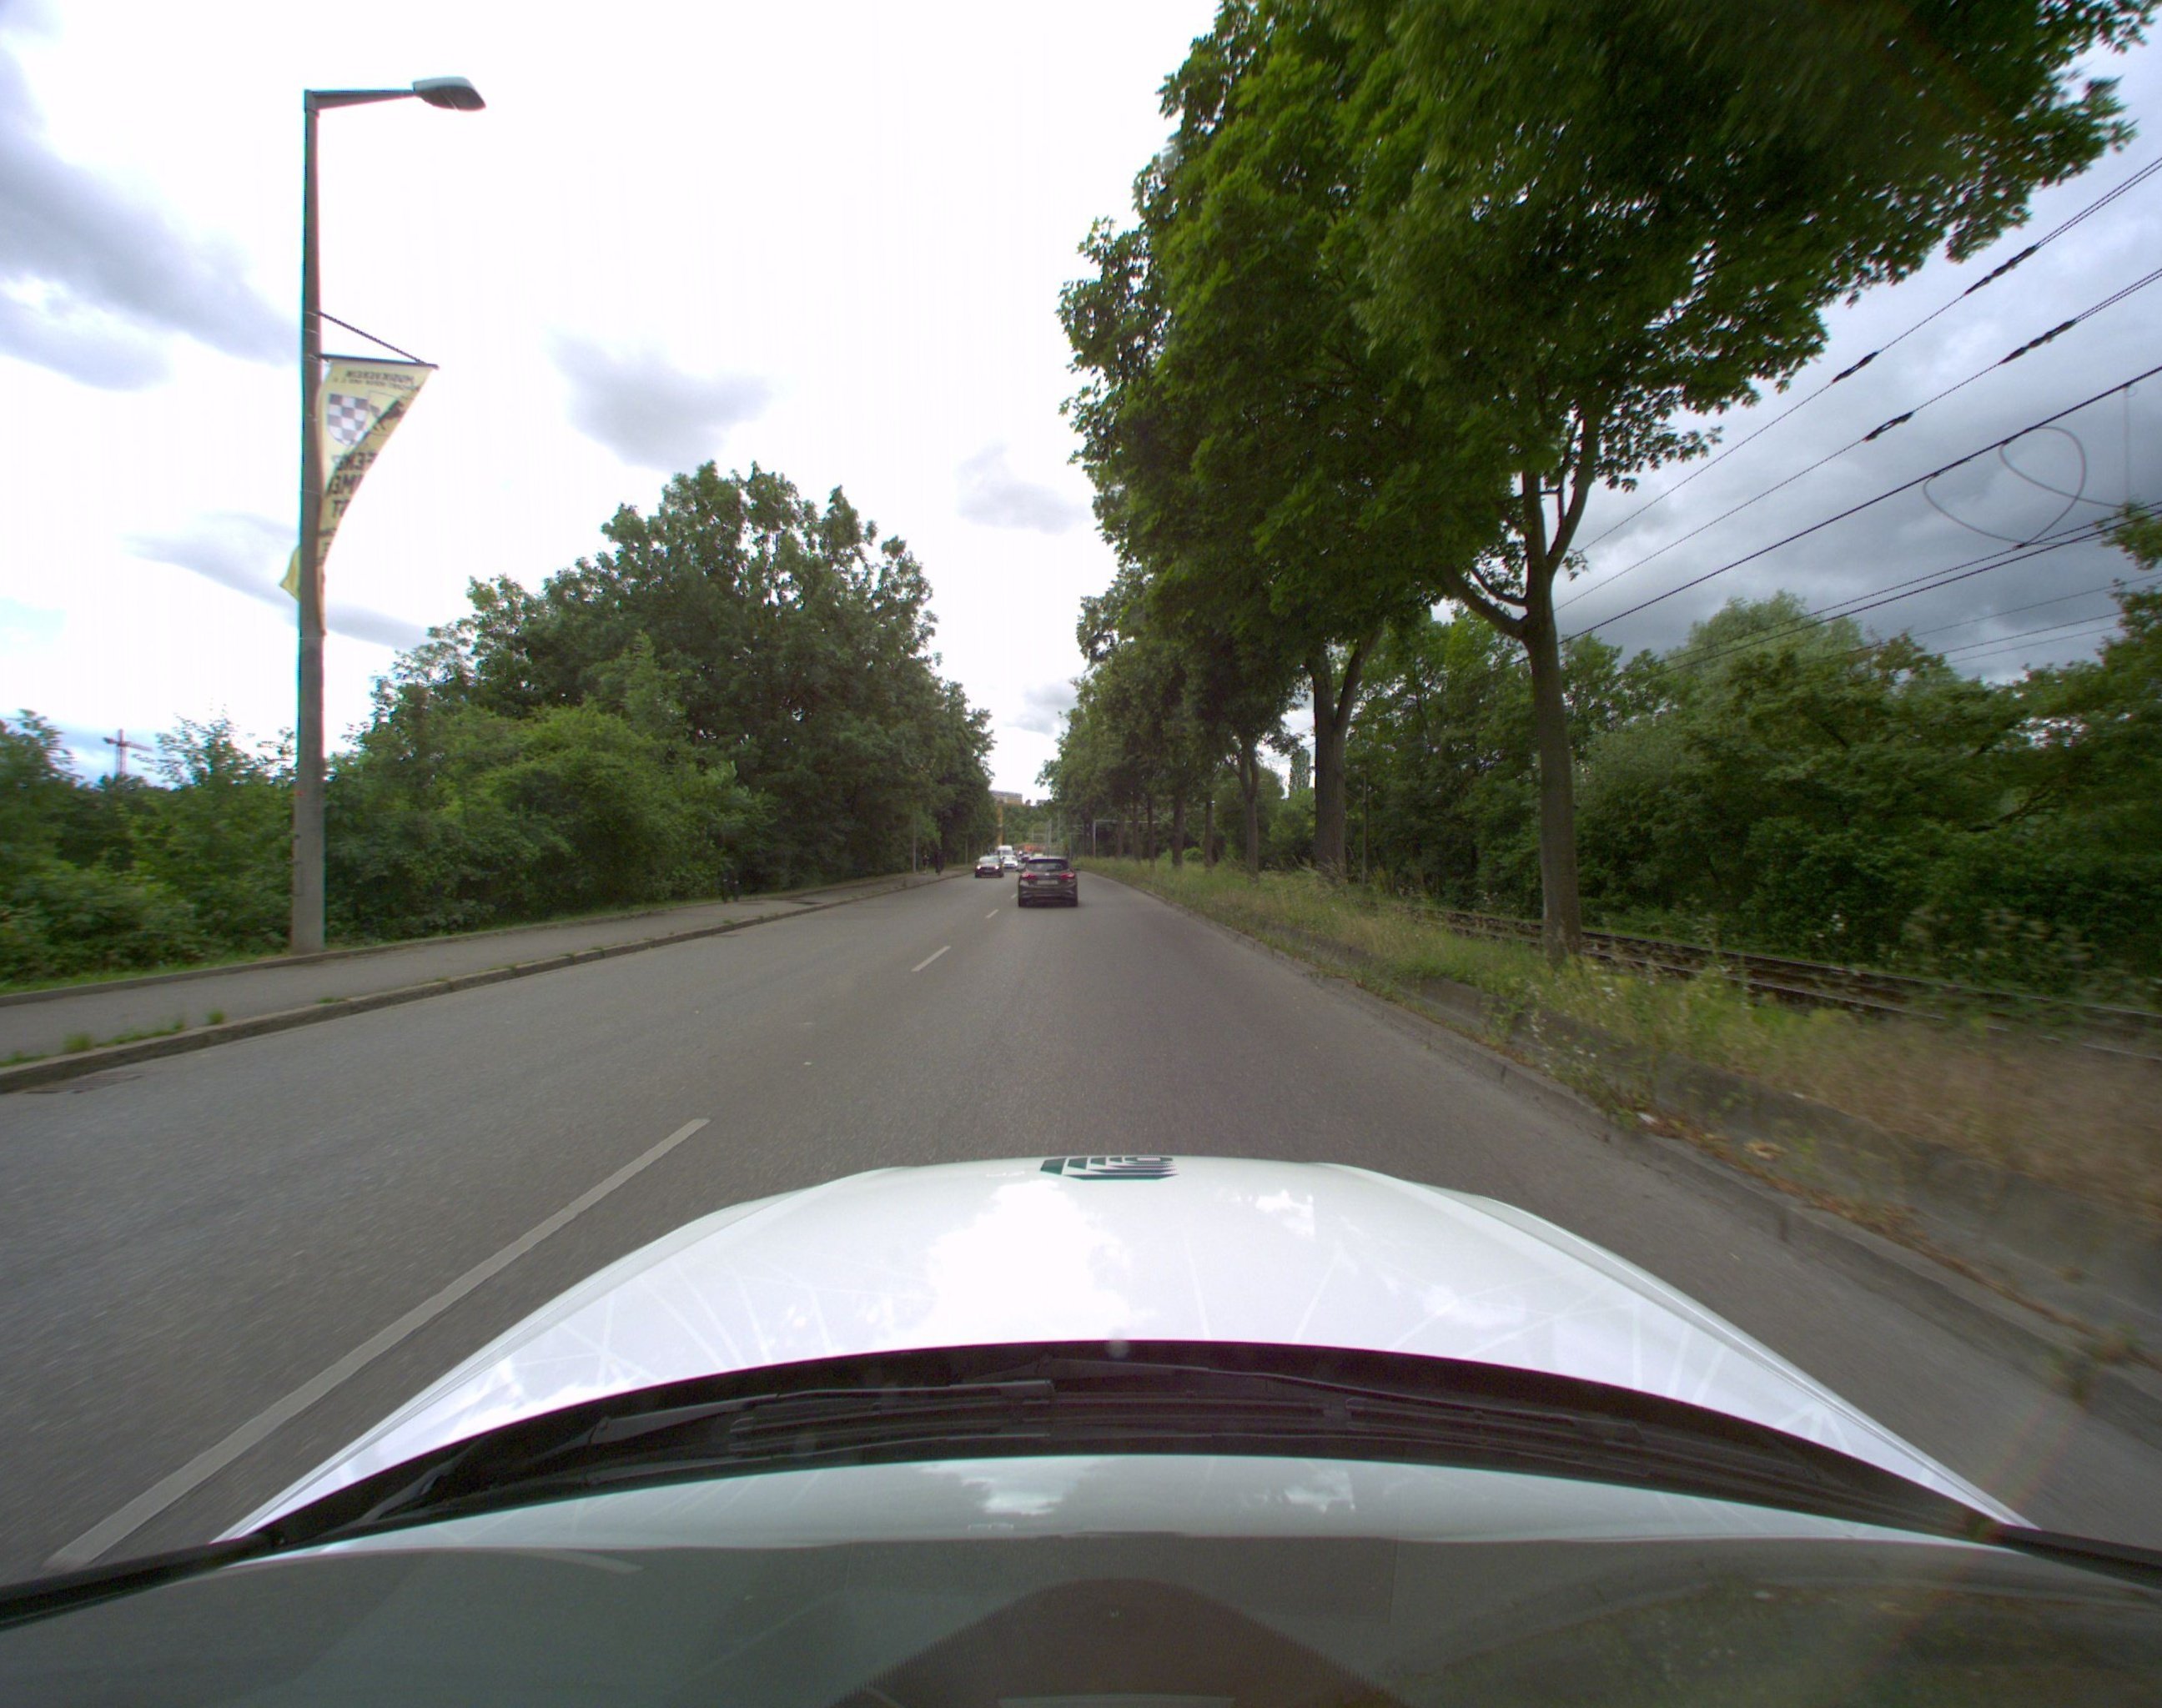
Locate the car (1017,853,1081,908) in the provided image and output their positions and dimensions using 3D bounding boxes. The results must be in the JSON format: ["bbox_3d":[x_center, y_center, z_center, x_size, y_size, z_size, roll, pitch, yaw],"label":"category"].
[{"bbox_3d":[-0.986,0.755,25.277,1.811,1.508,3.997,0,1,-2],"label":"car"}]

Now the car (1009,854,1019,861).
[{"bbox_3d":[-14.272,0.759,172.718,1.771,1.472,3.998,2,1,-1],"label":"car"}]

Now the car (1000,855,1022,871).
[{"bbox_3d":[-6.285,0.792,73.589,1.720,1.330,3.474,1,1,-1],"label":"car"}]

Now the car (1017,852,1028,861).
[{"bbox_3d":[-10.827,0.477,149.991,1.771,1.472,3.998,1,1,-1],"label":"car"}]

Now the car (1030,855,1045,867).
[{"bbox_3d":[-5.715,0.908,107.014,1.772,1.472,3.997,2,1,-3],"label":"car"}]

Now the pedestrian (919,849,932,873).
[{"bbox_3d":[-10.652,0.479,55.736,0.693,1.621,0.684,2,1,0],"label":"pedestrian"}]

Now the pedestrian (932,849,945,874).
[{"bbox_3d":[-9.203,0.465,52.723,0.615,1.571,0.849,2,1,1],"label":"pedestrian"}]

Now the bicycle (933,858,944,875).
[{"bbox_3d":[-9.194,0.808,52.634,0.486,1.030,1.124,2,1,1],"label":"bicycle"}]

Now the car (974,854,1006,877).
[{"bbox_3d":[-6.100,0.773,54.912,1.744,1.464,3.918,2,0,-1],"label":"car"}]

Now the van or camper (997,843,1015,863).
[{"bbox_3d":[-8.932,-0.134,97.283,1.922,2.151,3.926,2,1,-4],"label":"van or camper"}]

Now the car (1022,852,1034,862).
[{"bbox_3d":[-8.839,0.485,136.017,1.771,1.472,3.998,2,1,-1],"label":"car"}]
